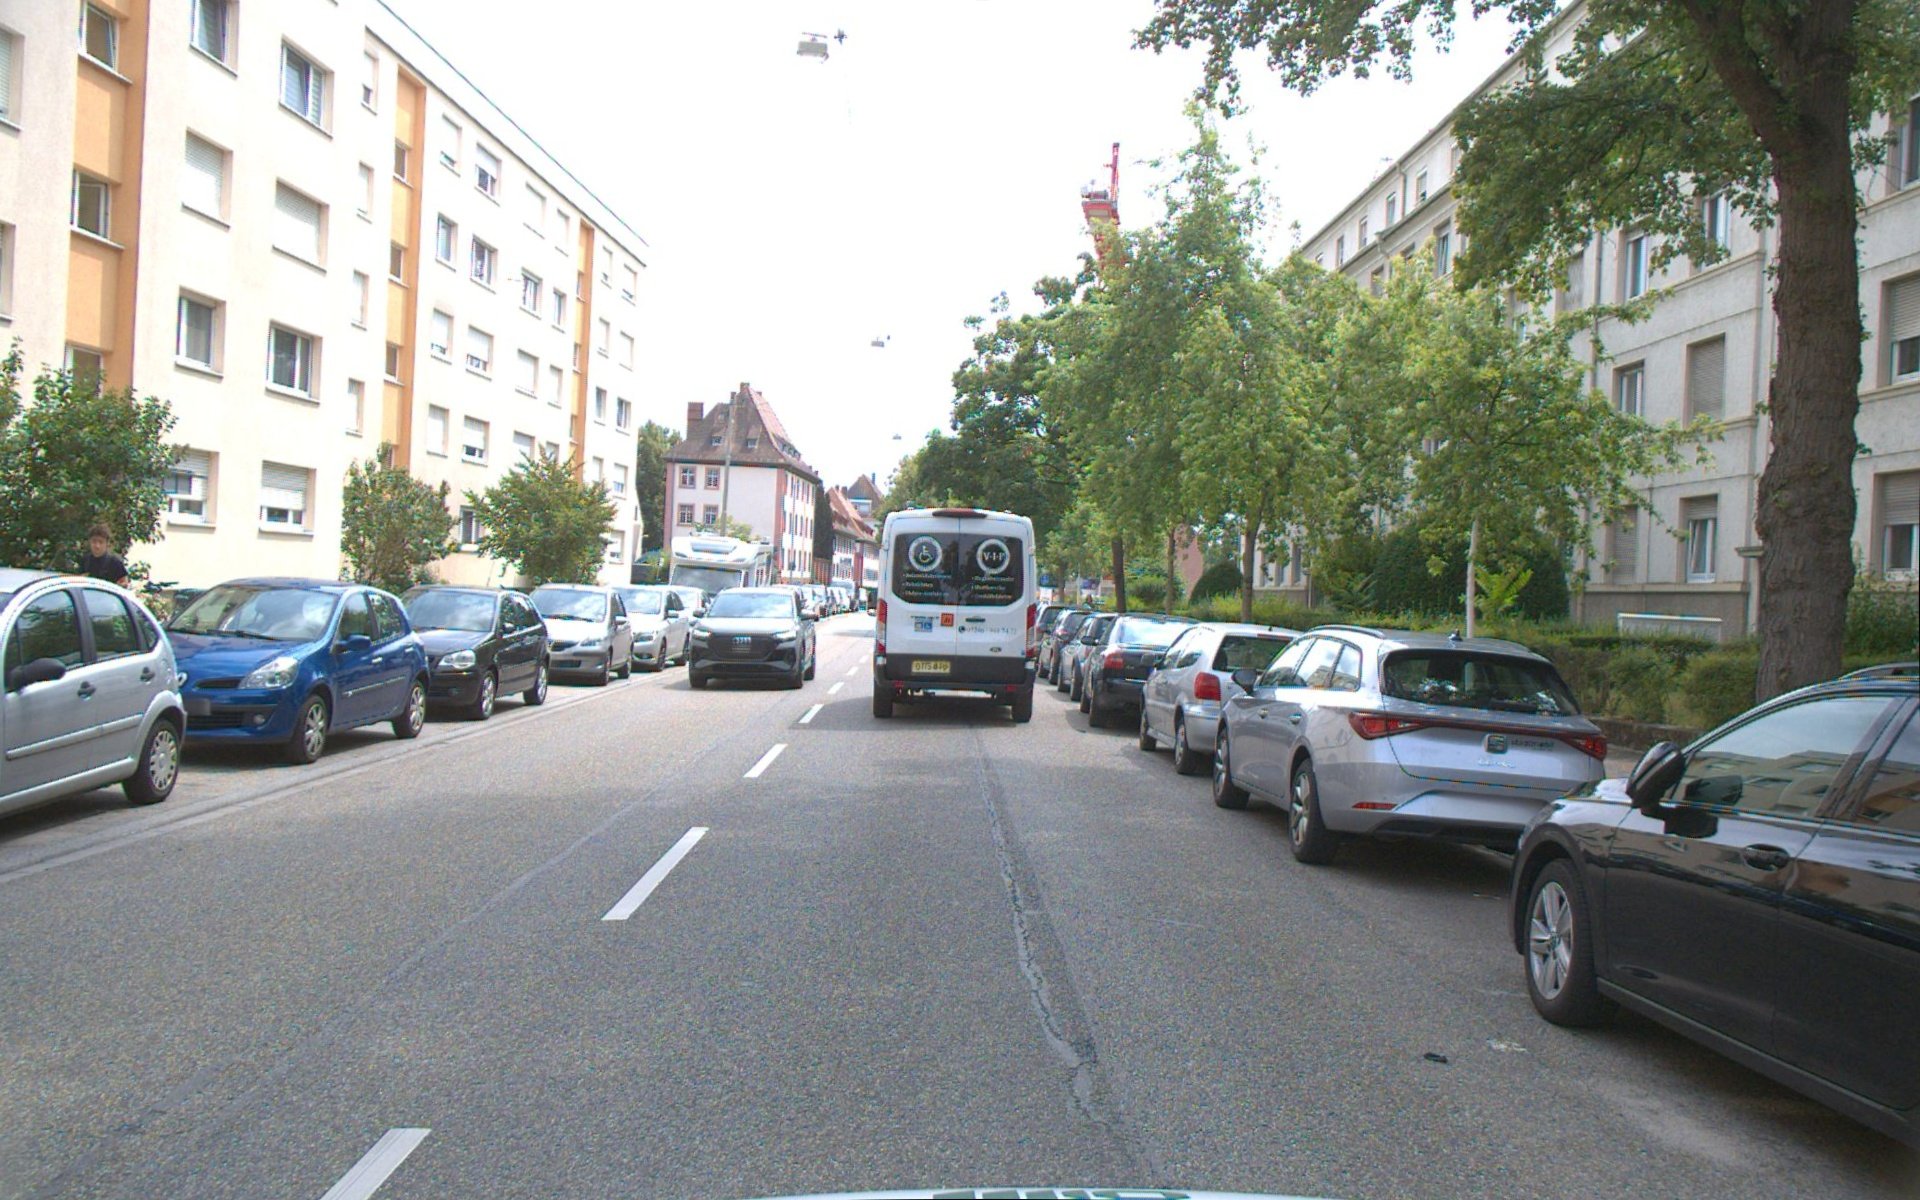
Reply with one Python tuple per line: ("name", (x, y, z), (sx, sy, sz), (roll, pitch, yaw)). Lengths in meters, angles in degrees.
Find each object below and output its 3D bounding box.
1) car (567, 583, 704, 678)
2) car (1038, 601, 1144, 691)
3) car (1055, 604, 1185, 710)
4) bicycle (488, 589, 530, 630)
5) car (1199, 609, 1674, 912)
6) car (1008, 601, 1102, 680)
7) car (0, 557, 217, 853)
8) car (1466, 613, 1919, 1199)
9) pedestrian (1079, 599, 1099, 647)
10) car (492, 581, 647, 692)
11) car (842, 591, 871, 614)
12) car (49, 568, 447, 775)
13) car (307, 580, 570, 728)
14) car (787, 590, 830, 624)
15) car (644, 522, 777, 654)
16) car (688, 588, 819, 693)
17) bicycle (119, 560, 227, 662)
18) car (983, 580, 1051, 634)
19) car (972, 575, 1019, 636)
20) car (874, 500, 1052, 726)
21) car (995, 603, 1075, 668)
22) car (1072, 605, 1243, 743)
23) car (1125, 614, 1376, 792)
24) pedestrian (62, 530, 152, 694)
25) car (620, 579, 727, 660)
("car", (-6.238, 0.546, 32.259), (1.719, 1.607, 4.567), (3, 0, -1))
("car", (2.507, 0.853, 32.478), (1.626, 1.495, 3.889), (1, 2, -2))
("car", (2.591, 0.893, 27.459), (1.626, 1.495, 3.724), (2, 1, -2))
("bicycle", (-11.908, 0.242, 43.751), (0.443, 0.997, 2.445), (2, 1, -1))
("car", (2.916, 0.881, 11.285), (1.663, 1.495, 4.716), (4, 0, -2))
("car", (2.170, 0.898, 38.941), (1.626, 1.610, 4.283), (5, 0, -3))
("car", (-6.058, 0.537, 9.743), (1.636, 1.589, 3.850), (4, 0, -2))
("car", (3.231, 0.869, 5.052), (1.663, 1.495, 4.751), (4, 0, -3))
("pedestrian", (4.964, 0.888, 63.737), (0.520, 1.860, 0.515), (2, 0, -45))
("car", (-6.280, 0.531, 27.007), (1.688, 1.566, 4.003), (2, 1, -2))
("car", (-7.300, 0.151, 117.355), (1.749, 1.507, 3.860), (4, 0, 0))
("car", (-6.167, 0.560, 14.873), (1.781, 1.509, 3.885), (3, 0, 1))
("car", (-6.189, 0.591, 20.145), (1.781, 1.509, 4.116), (4, 0, 0))
("car", (-7.669, 0.361, 83.805), (1.749, 1.570, 3.860), (4, 0, 0))
("car", (-6.513, -0.309, 44.121), (2.460, 3.076, 7.394), (3, 0, -2))
("car", (-3.414, 0.628, 28.082), (1.781, 1.613, 4.434), (1, 0, -2))
("bicycle", (-11.565, 0.137, 24.384), (0.452, 1.418, 2.131), (2, 1, 3))
("car", (1.999, 0.239, 59.635), (1.889, 1.690, 5.321), (5, 0, -3))
("car", (1.664, 0.248, 78.393), (1.859, 2.631, 4.828), (5, 0, -1))
("car", (-0.076, 0.166, 21.627), (2.029, 2.585, 4.632), (1, 0, -3))
("car", (1.946, 0.894, 43.842), (1.585, 1.495, 4.388), (4, 0, -4))
("car", (2.481, 0.875, 21.784), (1.743, 1.495, 4.615), (4, 0, 2))
("car", (2.777, 0.935, 16.636), (1.636, 1.425, 3.850), (4, 0, -2))
("pedestrian", (-9.818, 0.135, 19.061), (0.607, 1.844, 0.803), (1, 0, -4))
("car", (-6.388, 0.412, 37.331), (1.655, 1.607, 4.592), (3, 0, -2))
